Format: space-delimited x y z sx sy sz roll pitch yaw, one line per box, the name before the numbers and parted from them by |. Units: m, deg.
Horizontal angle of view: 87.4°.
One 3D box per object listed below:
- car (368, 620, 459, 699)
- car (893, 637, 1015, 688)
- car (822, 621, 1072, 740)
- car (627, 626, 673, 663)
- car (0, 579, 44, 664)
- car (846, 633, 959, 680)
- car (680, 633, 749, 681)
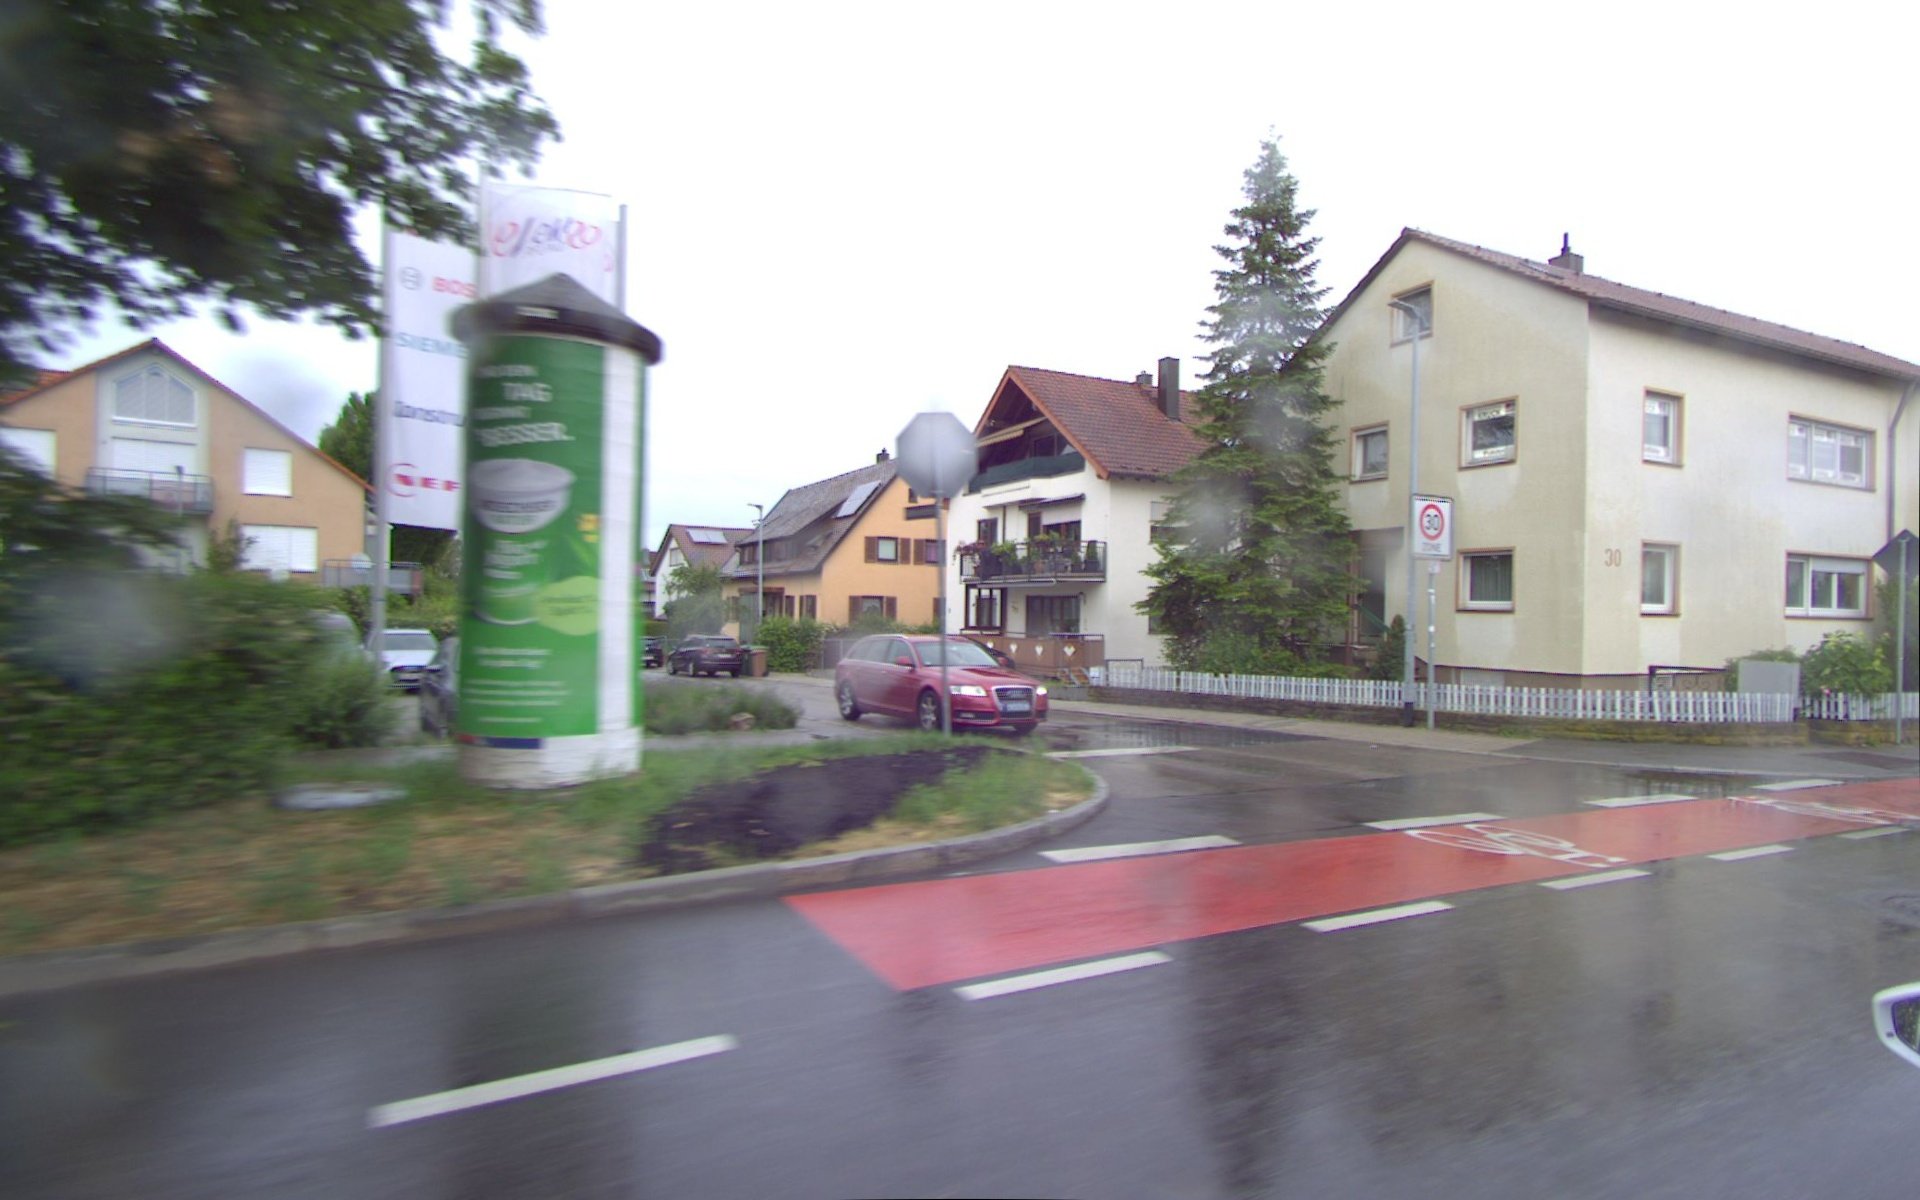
car | -12.806 1.314 23.524 1.728 1.513 3.932 0 1 -30
car | -0.174 1.838 30.146 3.355 1.363 1.535 0 0 -29
car | -0.387 1.188 15.915 1.854 1.588 4.619 3 -3 -31
car | -14.681 2.064 47.444 1.670 1.461 3.977 0 1 -23
car | -19.998 0.413 19.968 2.160 1.588 4.517 3 -3 -37
car | -1.852 1.786 32.392 3.355 1.363 1.505 0 0 -29
car | -9.054 2.025 36.787 1.856 1.461 3.977 0 1 -23
